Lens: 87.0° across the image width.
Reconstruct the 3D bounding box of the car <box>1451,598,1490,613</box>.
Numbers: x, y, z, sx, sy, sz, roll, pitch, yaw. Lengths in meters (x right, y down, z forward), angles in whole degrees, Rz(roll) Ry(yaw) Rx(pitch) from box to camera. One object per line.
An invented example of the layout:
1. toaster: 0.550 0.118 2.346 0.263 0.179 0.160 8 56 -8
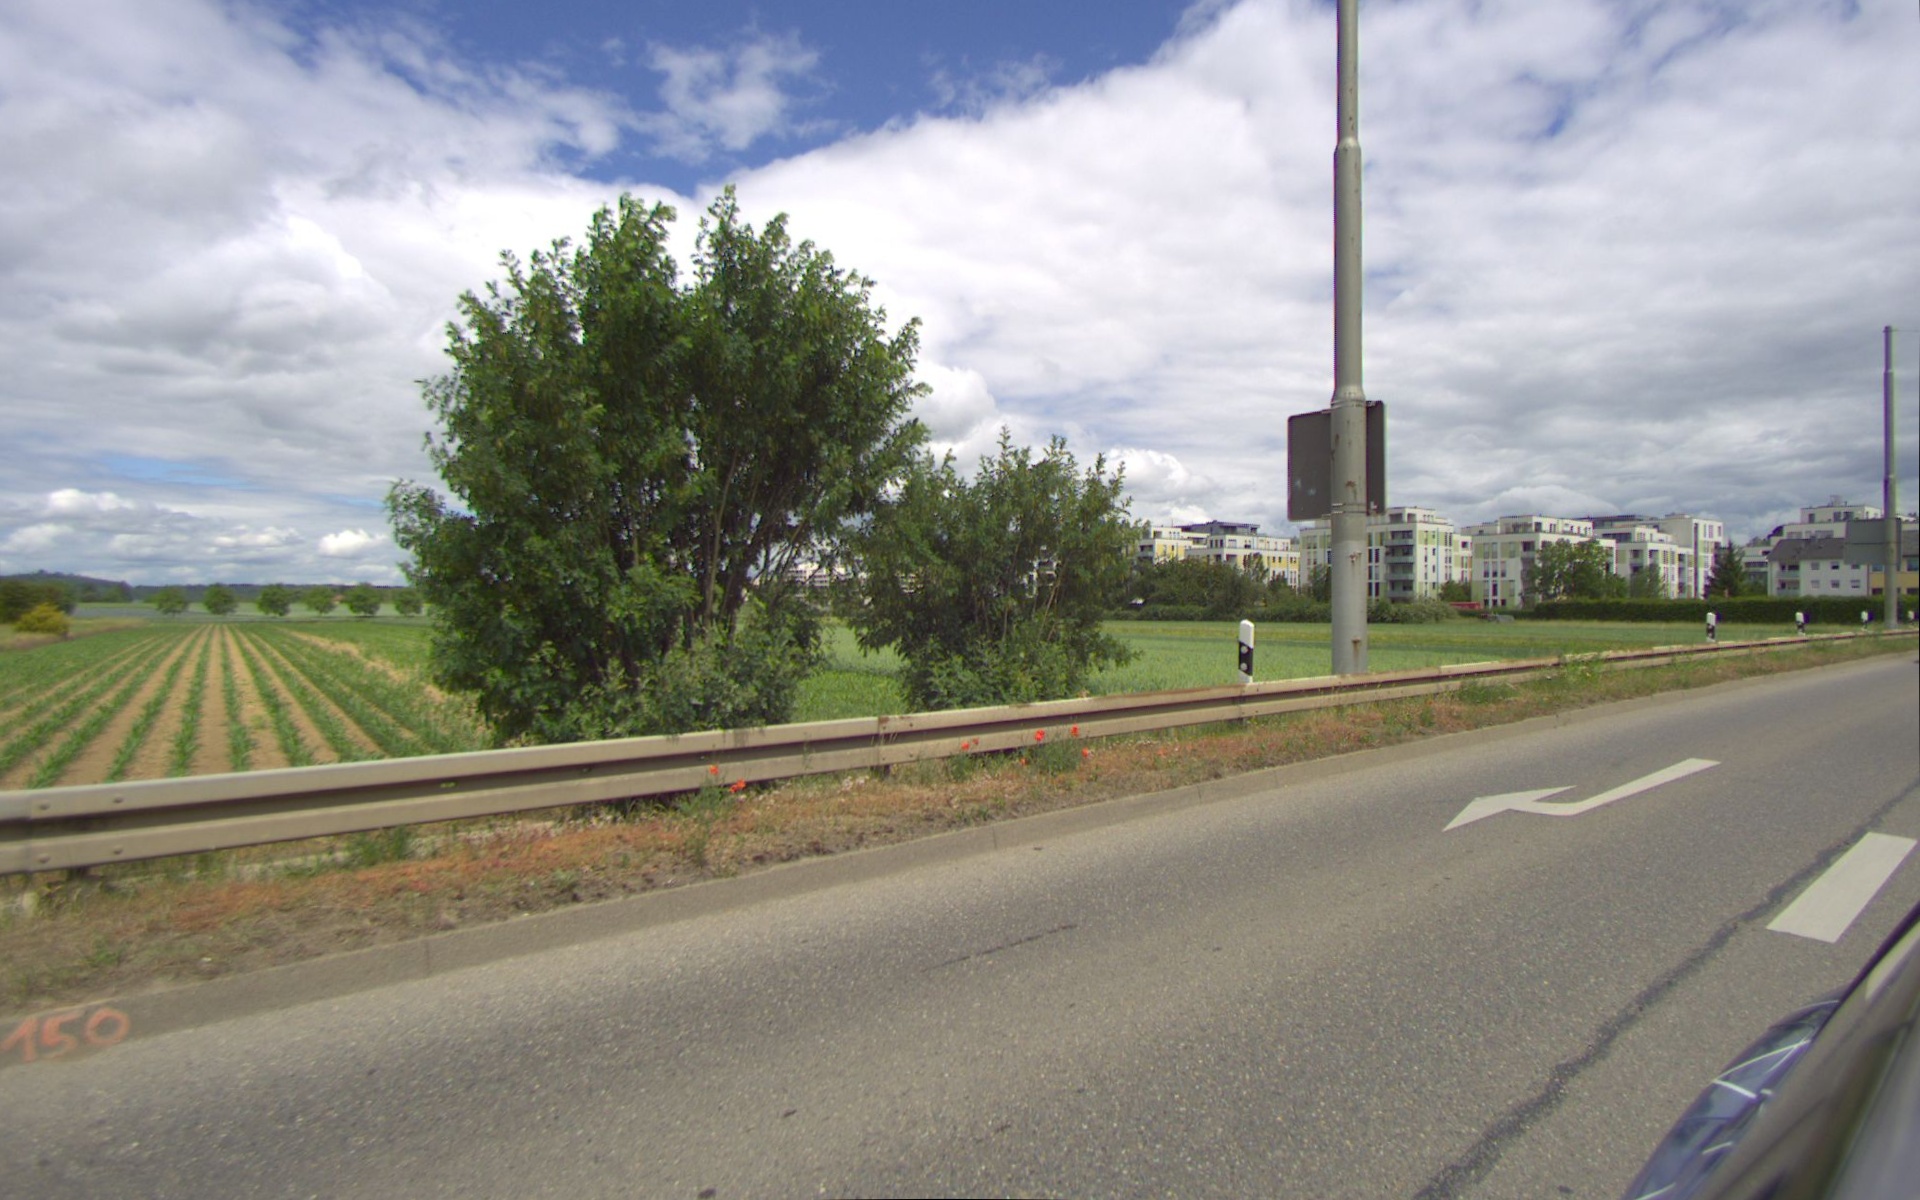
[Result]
1. car: 71.867 0.733 142.476 1.964 2.039 4.435 0 1 -39
